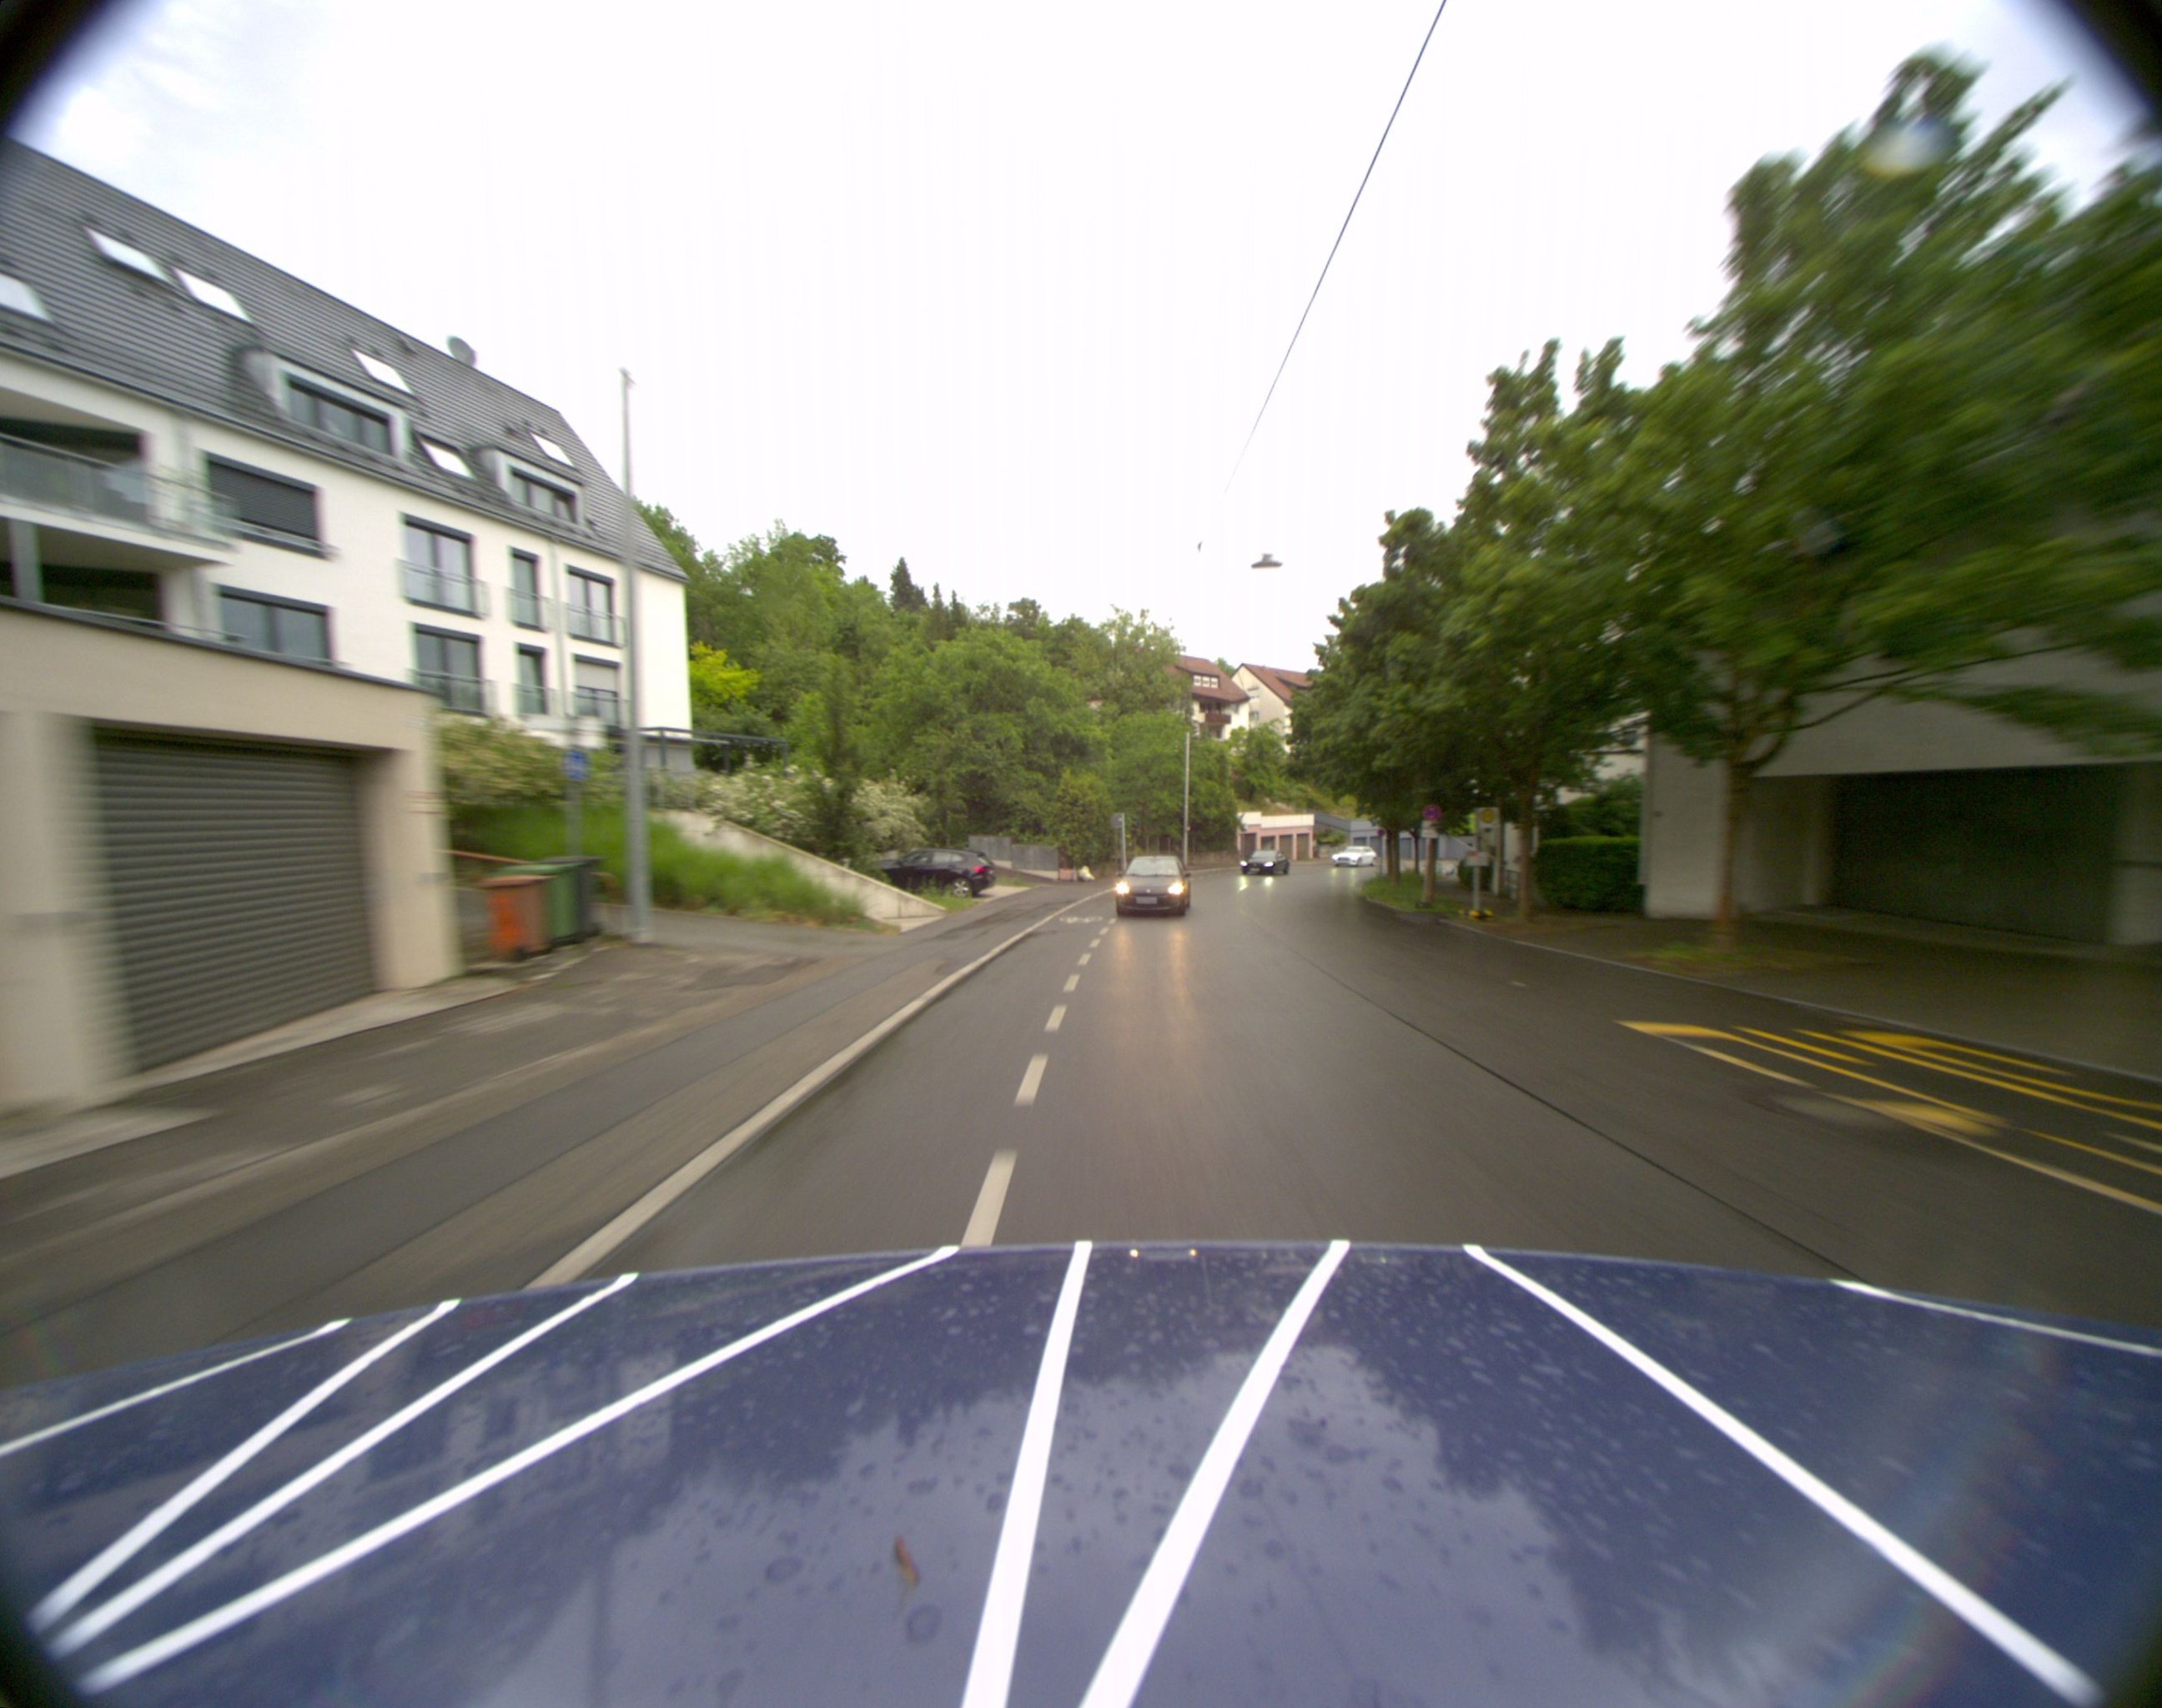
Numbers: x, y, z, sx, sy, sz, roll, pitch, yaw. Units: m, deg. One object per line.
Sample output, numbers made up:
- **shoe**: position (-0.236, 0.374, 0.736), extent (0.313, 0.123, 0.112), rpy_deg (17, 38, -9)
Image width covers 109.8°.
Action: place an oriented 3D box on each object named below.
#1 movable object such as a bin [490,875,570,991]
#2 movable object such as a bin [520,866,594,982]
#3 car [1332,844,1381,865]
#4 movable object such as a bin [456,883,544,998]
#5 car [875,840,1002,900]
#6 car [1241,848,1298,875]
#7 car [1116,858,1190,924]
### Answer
- **movable object such as a bin**: position (-6.201, 0.876, 8.569), extent (0.564, 1.261, 0.453), rpy_deg (0, 1, -5)
- **movable object such as a bin**: position (-6.243, 0.820, 9.071), extent (0.555, 1.343, 0.463), rpy_deg (0, 1, -5)
- **car**: position (22.102, 0.000, 60.859), extent (2.008, 1.652, 4.455), rpy_deg (1, 1, 44)
- **movable object such as a bin**: position (-6.155, 0.903, 8.068), extent (0.575, 1.169, 0.443), rpy_deg (0, 1, -5)
- **car**: position (-4.301, 0.464, 23.236), extent (3.465, 1.623, 1.579), rpy_deg (2, 2, 5)
- **car**: position (10.824, 0.397, 43.492), extent (1.803, 1.480, 4.025), rpy_deg (1, 1, 35)
- **car**: position (1.909, 0.860, 19.342), extent (1.577, 1.444, 3.589), rpy_deg (0, 1, 10)
